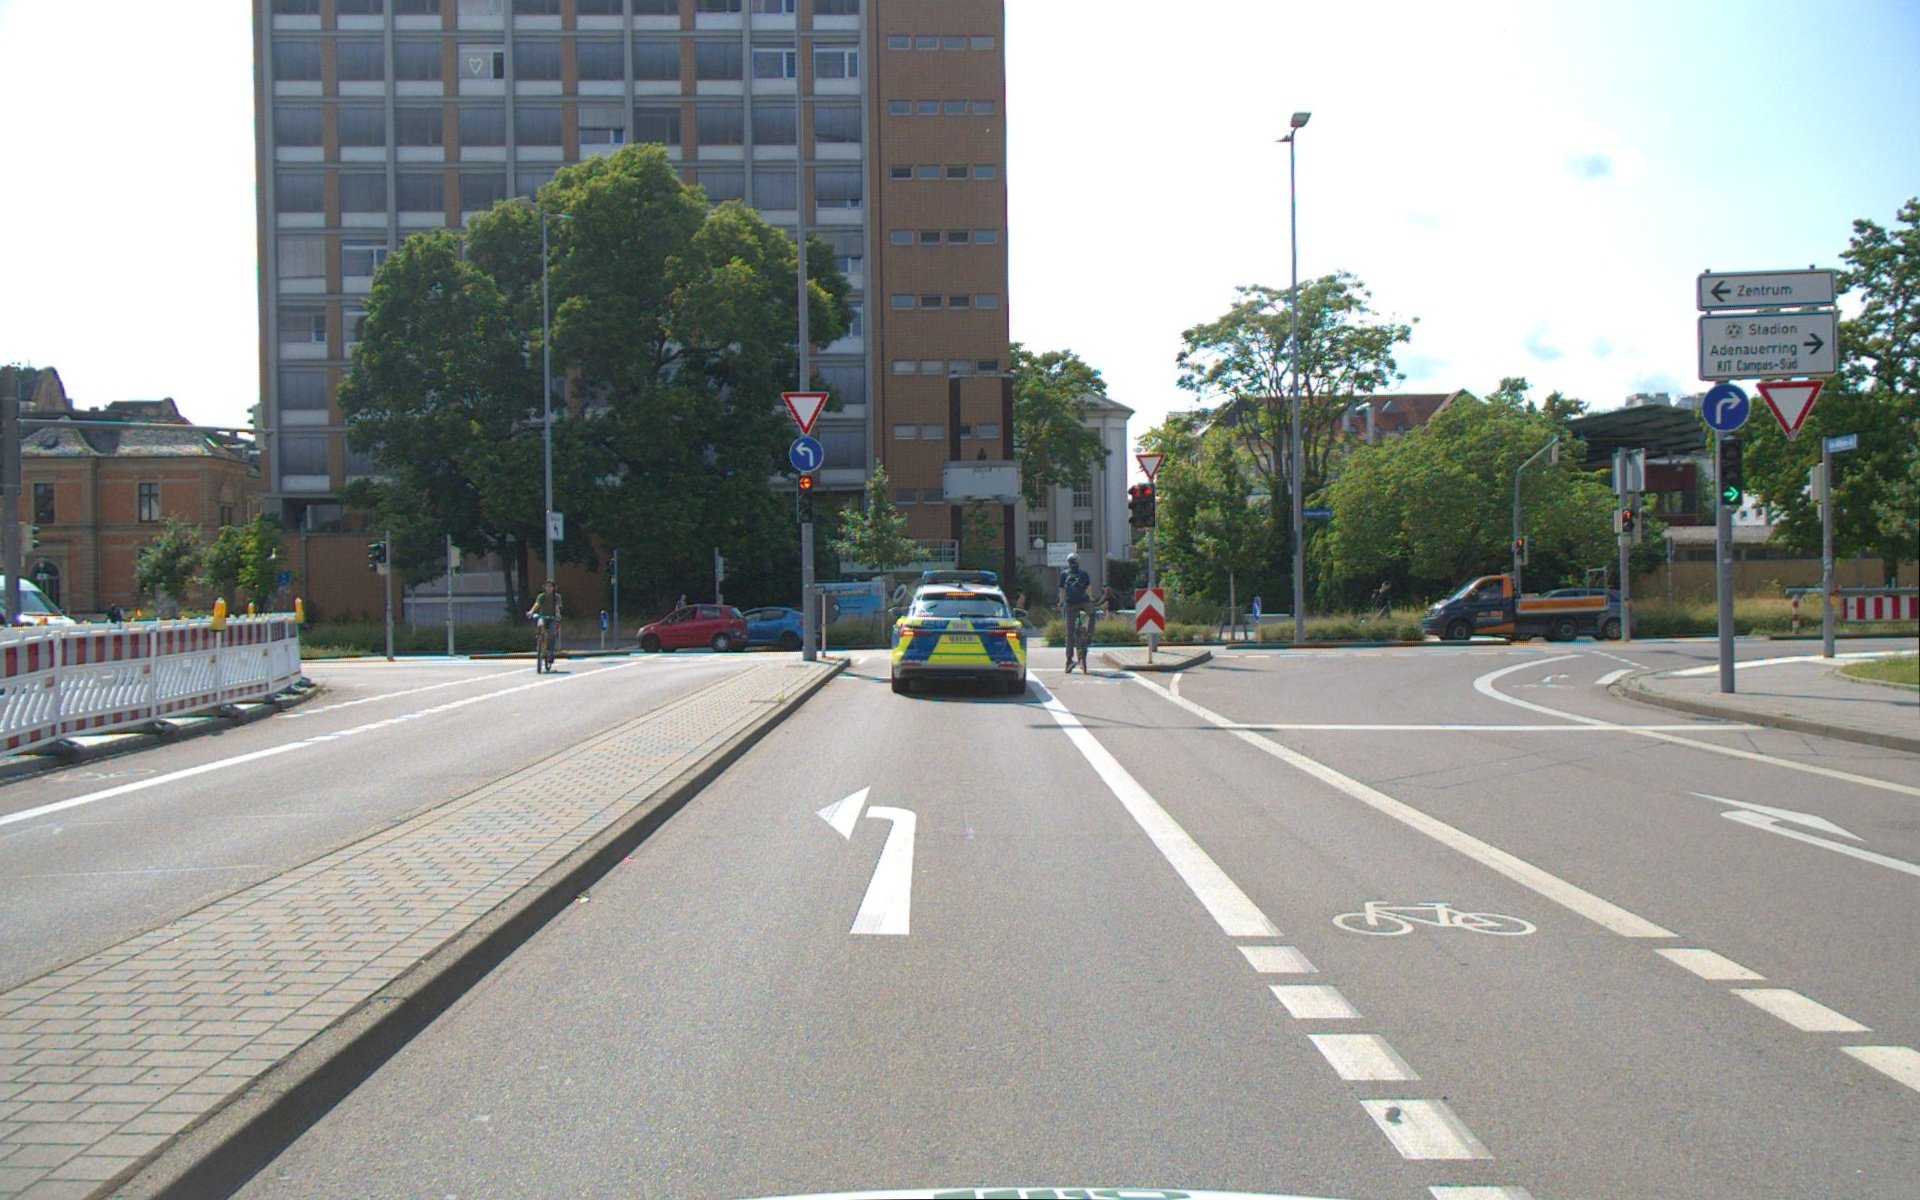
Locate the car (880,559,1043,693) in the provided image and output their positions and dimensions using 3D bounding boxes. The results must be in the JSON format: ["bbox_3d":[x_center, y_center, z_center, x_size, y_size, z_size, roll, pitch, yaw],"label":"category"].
[{"bbox_3d":[-0.014,0.313,23.333,2.087,1.713,4.101,0,0,-1],"label":"car"}]

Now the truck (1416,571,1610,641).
[{"bbox_3d":[15.883,0.168,47.737,5.007,1.870,2.002,-1,0,7],"label":"truck"}]

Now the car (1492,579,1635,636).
[{"bbox_3d":[18.419,0.228,50.599,3.828,1.637,1.627,-1,0,7],"label":"car"}]

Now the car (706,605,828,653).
[{"bbox_3d":[-6.374,0.950,54.761,3.644,1.482,1.628,-1,0,11],"label":"car"}]

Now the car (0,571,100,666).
[{"bbox_3d":[-25.526,0.507,43.106,5.453,2.359,2.303,-1,0,18],"label":"car"}]

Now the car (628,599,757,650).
[{"bbox_3d":[-8.431,0.775,52.256,3.644,1.482,1.628,-1,0,11],"label":"car"}]

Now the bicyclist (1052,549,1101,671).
[{"bbox_3d":[1.951,0.153,27.818,0.703,2.007,0.839,-1,1,-1],"label":"bicyclist"}]

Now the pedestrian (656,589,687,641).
[{"bbox_3d":[-10.867,0.550,62.379,0.924,1.916,0.908,-1,0,2],"label":"pedestrian"}]

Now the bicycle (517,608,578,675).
[{"bbox_3d":[-7.638,0.746,30.708,0.621,1.102,2.190,-1,1,-2],"label":"bicycle"}]

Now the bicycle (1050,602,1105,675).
[{"bbox_3d":[1.966,0.622,27.904,0.706,1.102,2.190,-1,1,-1],"label":"bicycle"}]

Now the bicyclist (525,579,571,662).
[{"bbox_3d":[-7.652,0.378,30.747,0.621,1.496,0.839,-1,1,-2],"label":"bicyclist"}]
